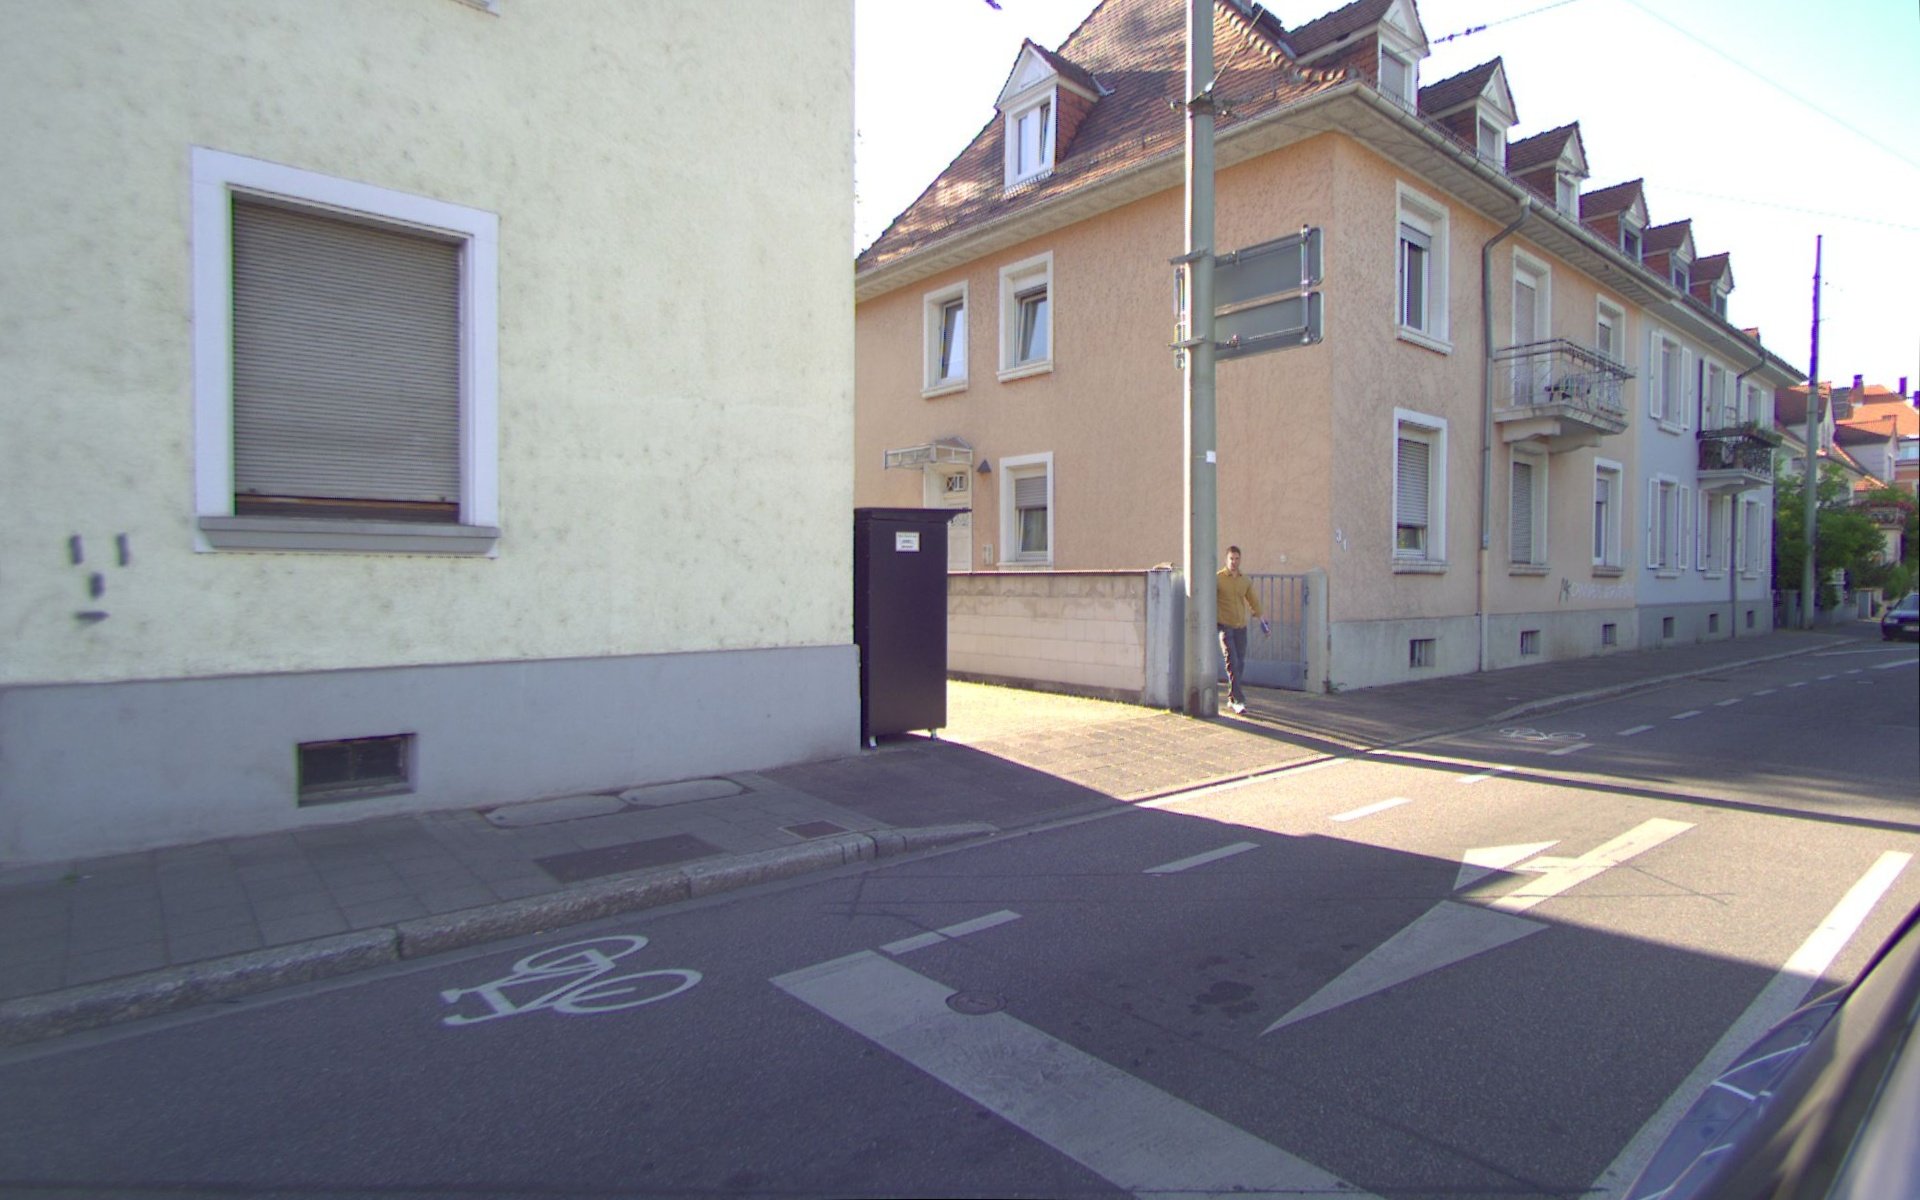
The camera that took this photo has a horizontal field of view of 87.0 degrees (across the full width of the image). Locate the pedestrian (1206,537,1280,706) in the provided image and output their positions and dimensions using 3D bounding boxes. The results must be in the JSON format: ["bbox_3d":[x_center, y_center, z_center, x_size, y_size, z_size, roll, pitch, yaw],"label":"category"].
[{"bbox_3d":[3.084,0.219,11.035,0.590,1.783,0.488,0,1,-22],"label":"pedestrian"}]

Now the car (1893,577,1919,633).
[{"bbox_3d":[27.828,0.121,28.276,3.926,1.504,1.883,-1,2,-37],"label":"car"}]
